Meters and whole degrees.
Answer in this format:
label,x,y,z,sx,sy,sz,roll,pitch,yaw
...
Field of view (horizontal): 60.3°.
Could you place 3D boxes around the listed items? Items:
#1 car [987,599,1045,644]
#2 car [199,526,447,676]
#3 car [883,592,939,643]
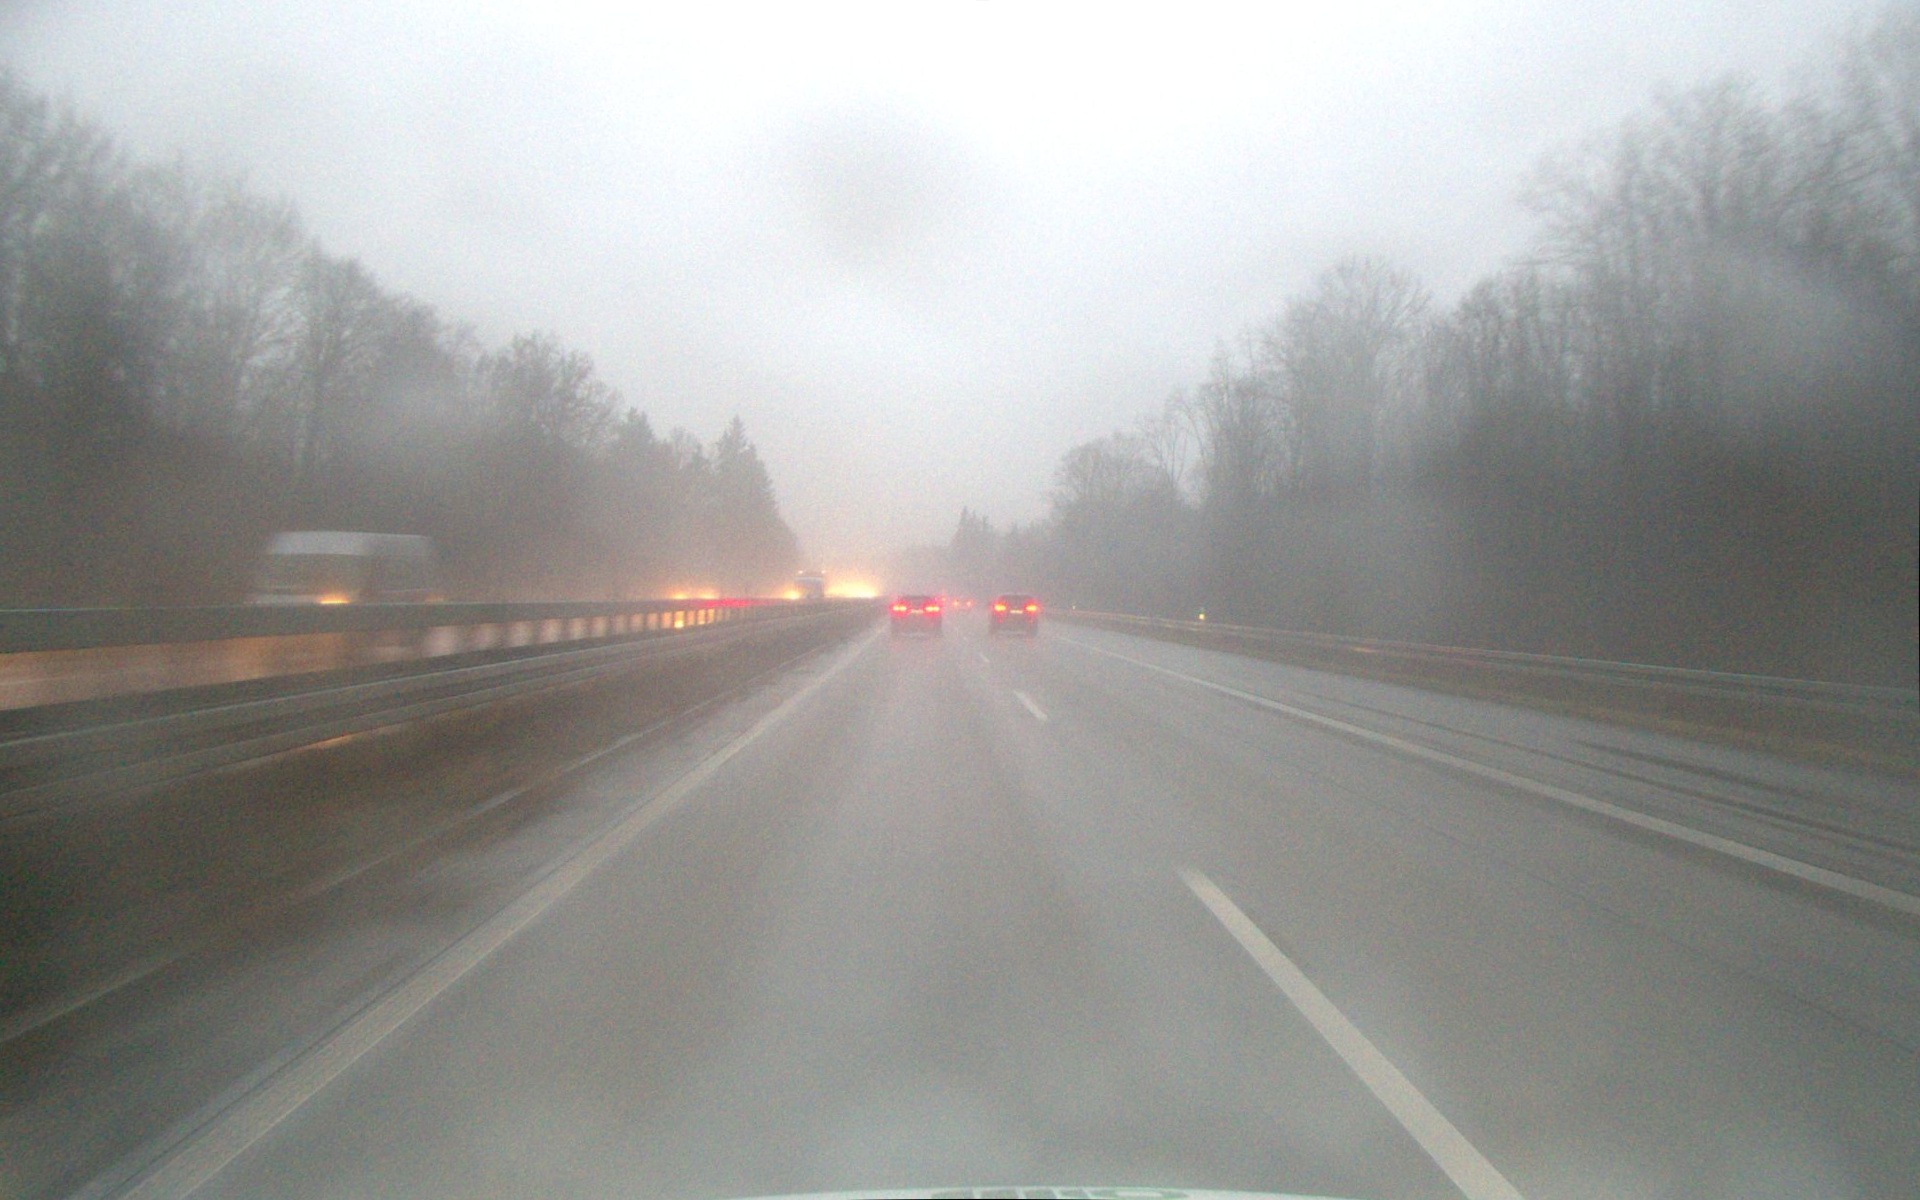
label,x,y,z,sx,sy,sz,roll,pitch,yaw
car,2.230,0.859,67.084,2.029,1.727,4.459,1,0,-2
car,-12.019,0.019,31.827,2.426,2.567,6.267,1,0,-1
car,-1.839,0.631,61.033,1.947,1.798,4.170,0,0,-3
